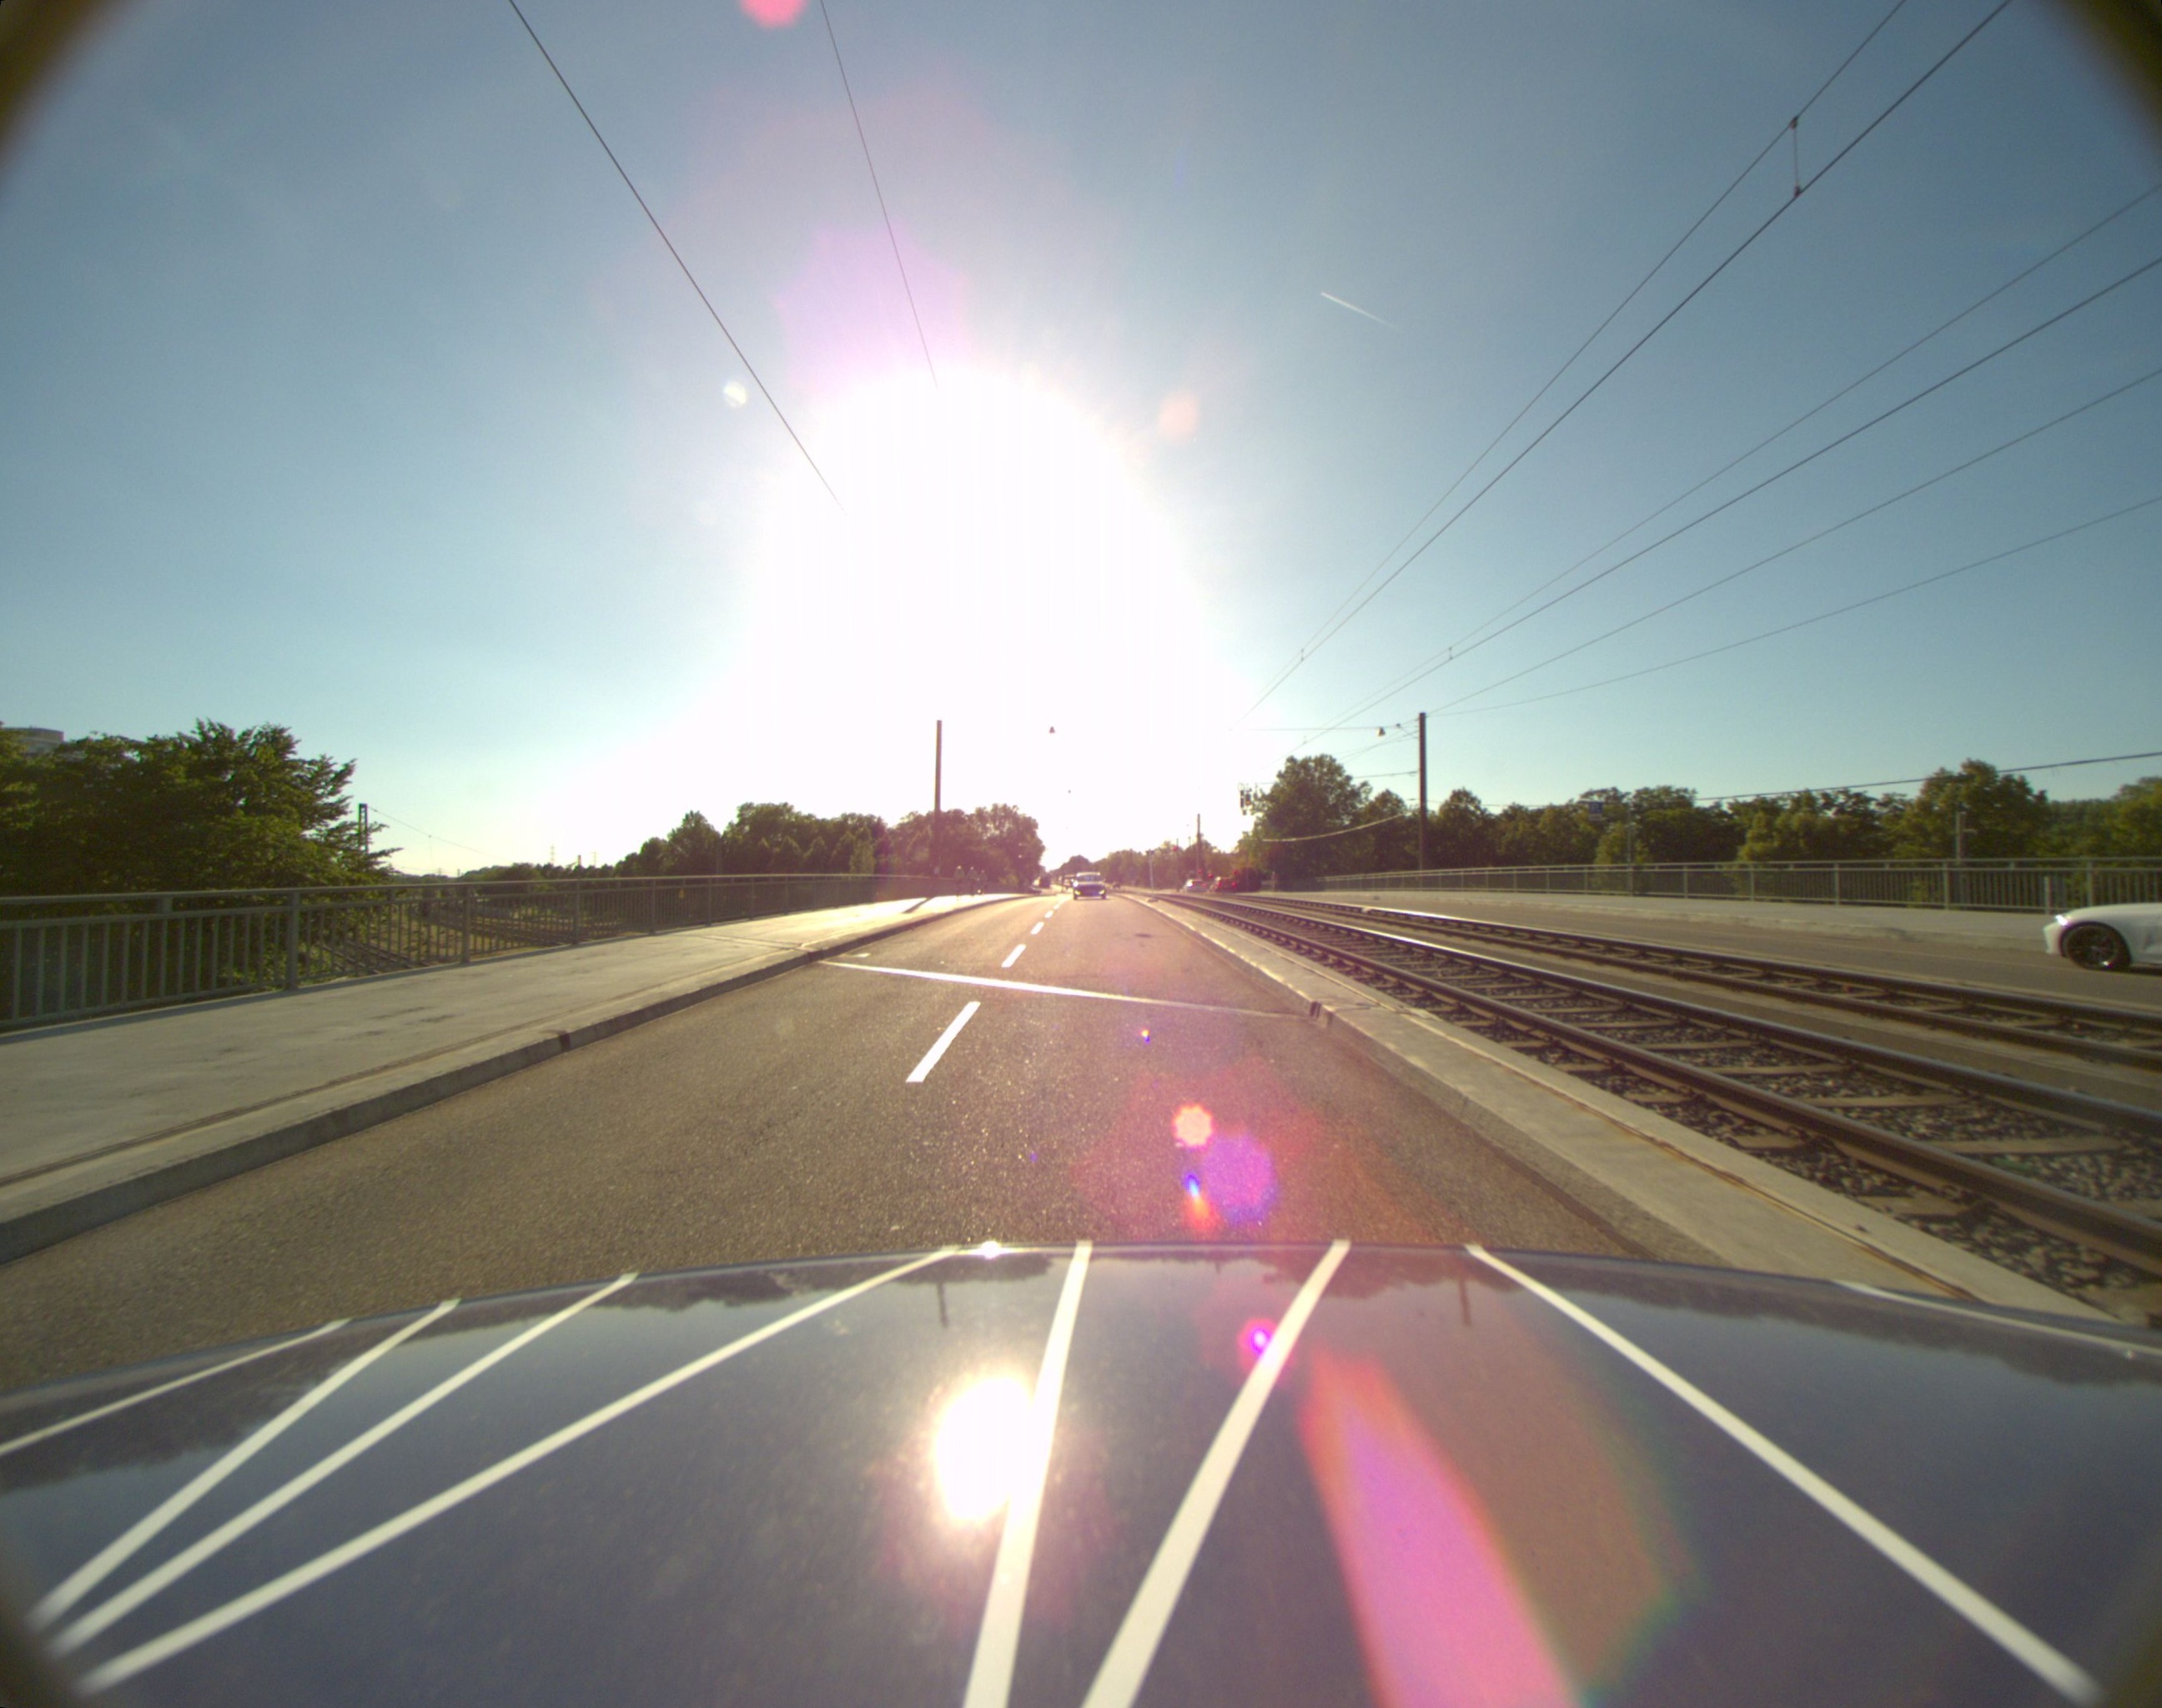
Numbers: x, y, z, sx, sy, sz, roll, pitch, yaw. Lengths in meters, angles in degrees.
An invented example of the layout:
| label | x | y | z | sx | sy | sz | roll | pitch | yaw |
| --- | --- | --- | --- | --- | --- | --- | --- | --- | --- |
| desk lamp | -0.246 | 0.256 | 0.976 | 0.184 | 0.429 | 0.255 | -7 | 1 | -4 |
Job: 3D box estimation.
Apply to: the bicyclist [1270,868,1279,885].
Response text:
| label | x | y | z | sx | sy | sz | roll | pitch | yaw |
| --- | --- | --- | --- | --- | --- | --- | --- | --- | --- |
| bicyclist | 18.093 | 2.103 | 71.029 | 0.626 | 1.623 | 0.936 | -1 | -1 | 0 |

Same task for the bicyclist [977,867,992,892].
| label | x | y | z | sx | sy | sz | roll | pitch | yaw |
| --- | --- | --- | --- | --- | --- | --- | --- | --- | --- |
| bicyclist | -6.077 | 1.611 | 47.818 | 0.814 | 1.552 | 0.897 | -1 | -2 | 0 |

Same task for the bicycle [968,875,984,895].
| label | x | y | z | sx | sy | sz | roll | pitch | yaw |
| --- | --- | --- | --- | --- | --- | --- | --- | --- | --- |
| bicycle | -6.043 | 1.753 | 43.845 | 0.626 | 1.115 | 2.042 | -1 | -1 | 0 |

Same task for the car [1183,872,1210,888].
| label | x | y | z | sx | sy | sz | roll | pitch | yaw |
| --- | --- | --- | --- | --- | --- | --- | --- | --- | --- |
| car | 12.204 | 2.722 | 80.625 | 2.006 | 1.627 | 5.091 | -1 | -2 | 0 |

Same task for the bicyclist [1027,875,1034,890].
| label | x | y | z | sx | sy | sz | roll | pitch | yaw |
| --- | --- | --- | --- | --- | --- | --- | --- | --- | --- |
| bicyclist | -5.769 | 3.255 | 86.912 | 0.733 | 1.679 | 1.202 | -3 | -1 | -3 |

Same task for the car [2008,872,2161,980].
| label | x | y | z | sx | sy | sz | roll | pitch | yaw |
| --- | --- | --- | --- | --- | --- | --- | --- | --- | --- |
| car | 14.760 | 0.970 | 8.938 | 1.688 | 1.348 | 4.920 | 1 | 0 | 0 |

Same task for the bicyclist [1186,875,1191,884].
| label | x | y | z | sx | sy | sz | roll | pitch | yaw |
| --- | --- | --- | --- | --- | --- | --- | --- | --- | --- |
| bicyclist | 17.651 | 4.205 | 124.474 | 0.626 | 1.424 | 0.969 | -1 | -1 | 3 |

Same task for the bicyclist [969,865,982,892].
| label | x | y | z | sx | sy | sz | roll | pitch | yaw |
| --- | --- | --- | --- | --- | --- | --- | --- | --- | --- |
| bicyclist | -6.088 | 1.409 | 43.834 | 0.626 | 1.583 | 0.931 | -1 | -1 | 0 |

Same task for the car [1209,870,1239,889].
| label | x | y | z | sx | sy | sz | roll | pitch | yaw |
| --- | --- | --- | --- | --- | --- | --- | --- | --- | --- |
| car | 11.893 | 2.170 | 63.417 | 1.812 | 1.510 | 4.002 | 1 | -2 | 0 |

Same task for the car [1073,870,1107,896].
| label | x | y | z | sx | sy | sz | roll | pitch | yaw |
| --- | --- | --- | --- | --- | --- | --- | --- | --- | --- |
| car | 0.455 | 1.611 | 42.395 | 1.802 | 1.345 | 4.001 | 0 | -2 | 0 |

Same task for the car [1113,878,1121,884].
| label | x | y | z | sx | sy | sz | roll | pitch | yaw |
| --- | --- | --- | --- | --- | --- | --- | --- | --- | --- |
| car | 8.994 | 6.635 | 188.807 | 1.853 | 1.493 | 4.220 | -1 | -1 | 0 |

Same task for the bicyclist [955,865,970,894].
| label | x | y | z | sx | sy | sz | roll | pitch | yaw |
| --- | --- | --- | --- | --- | --- | --- | --- | --- | --- |
| bicyclist | -6.191 | 1.331 | 39.687 | 0.627 | 1.499 | 1.006 | -1 | -2 | -2 |

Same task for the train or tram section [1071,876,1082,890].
| label | x | y | z | sx | sy | sz | roll | pitch | yaw |
| --- | --- | --- | --- | --- | --- | --- | --- | --- | --- |
| train or tram section | -1.410 | 8.771 | 229.898 | 2.570 | 3.877 | 11.670 | -1 | -1 | -4 |

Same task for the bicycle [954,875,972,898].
| label | x | y | z | sx | sy | sz | roll | pitch | yaw |
| --- | --- | --- | --- | --- | --- | --- | --- | --- | --- |
| bicycle | -6.176 | 1.686 | 39.718 | 0.627 | 1.115 | 2.260 | -1 | -2 | -2 |

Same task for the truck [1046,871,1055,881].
| label | x | y | z | sx | sy | sz | roll | pitch | yaw |
| --- | --- | --- | --- | --- | --- | --- | --- | --- | --- |
| truck | -9.947 | 7.134 | 243.870 | 2.611 | 3.184 | 7.869 | -1 | -1 | -4 |

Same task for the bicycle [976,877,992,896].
| label | x | y | z | sx | sy | sz | roll | pitch | yaw |
| --- | --- | --- | --- | --- | --- | --- | --- | --- | --- |
| bicycle | -6.077 | 2.058 | 47.783 | 0.685 | 1.115 | 2.217 | -1 | -3 | 0 |

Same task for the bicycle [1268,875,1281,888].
| label | x | y | z | sx | sy | sz | roll | pitch | yaw |
| --- | --- | --- | --- | --- | --- | --- | --- | --- | --- |
| bicycle | 18.106 | 2.551 | 71.047 | 0.626 | 1.115 | 2.260 | -1 | -1 | 1 |

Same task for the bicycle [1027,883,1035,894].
| label | x | y | z | sx | sy | sz | roll | pitch | yaw |
| --- | --- | --- | --- | --- | --- | --- | --- | --- | --- |
| bicycle | -5.713 | 3.935 | 86.873 | 0.733 | 1.115 | 2.742 | -3 | -2 | -3 |
